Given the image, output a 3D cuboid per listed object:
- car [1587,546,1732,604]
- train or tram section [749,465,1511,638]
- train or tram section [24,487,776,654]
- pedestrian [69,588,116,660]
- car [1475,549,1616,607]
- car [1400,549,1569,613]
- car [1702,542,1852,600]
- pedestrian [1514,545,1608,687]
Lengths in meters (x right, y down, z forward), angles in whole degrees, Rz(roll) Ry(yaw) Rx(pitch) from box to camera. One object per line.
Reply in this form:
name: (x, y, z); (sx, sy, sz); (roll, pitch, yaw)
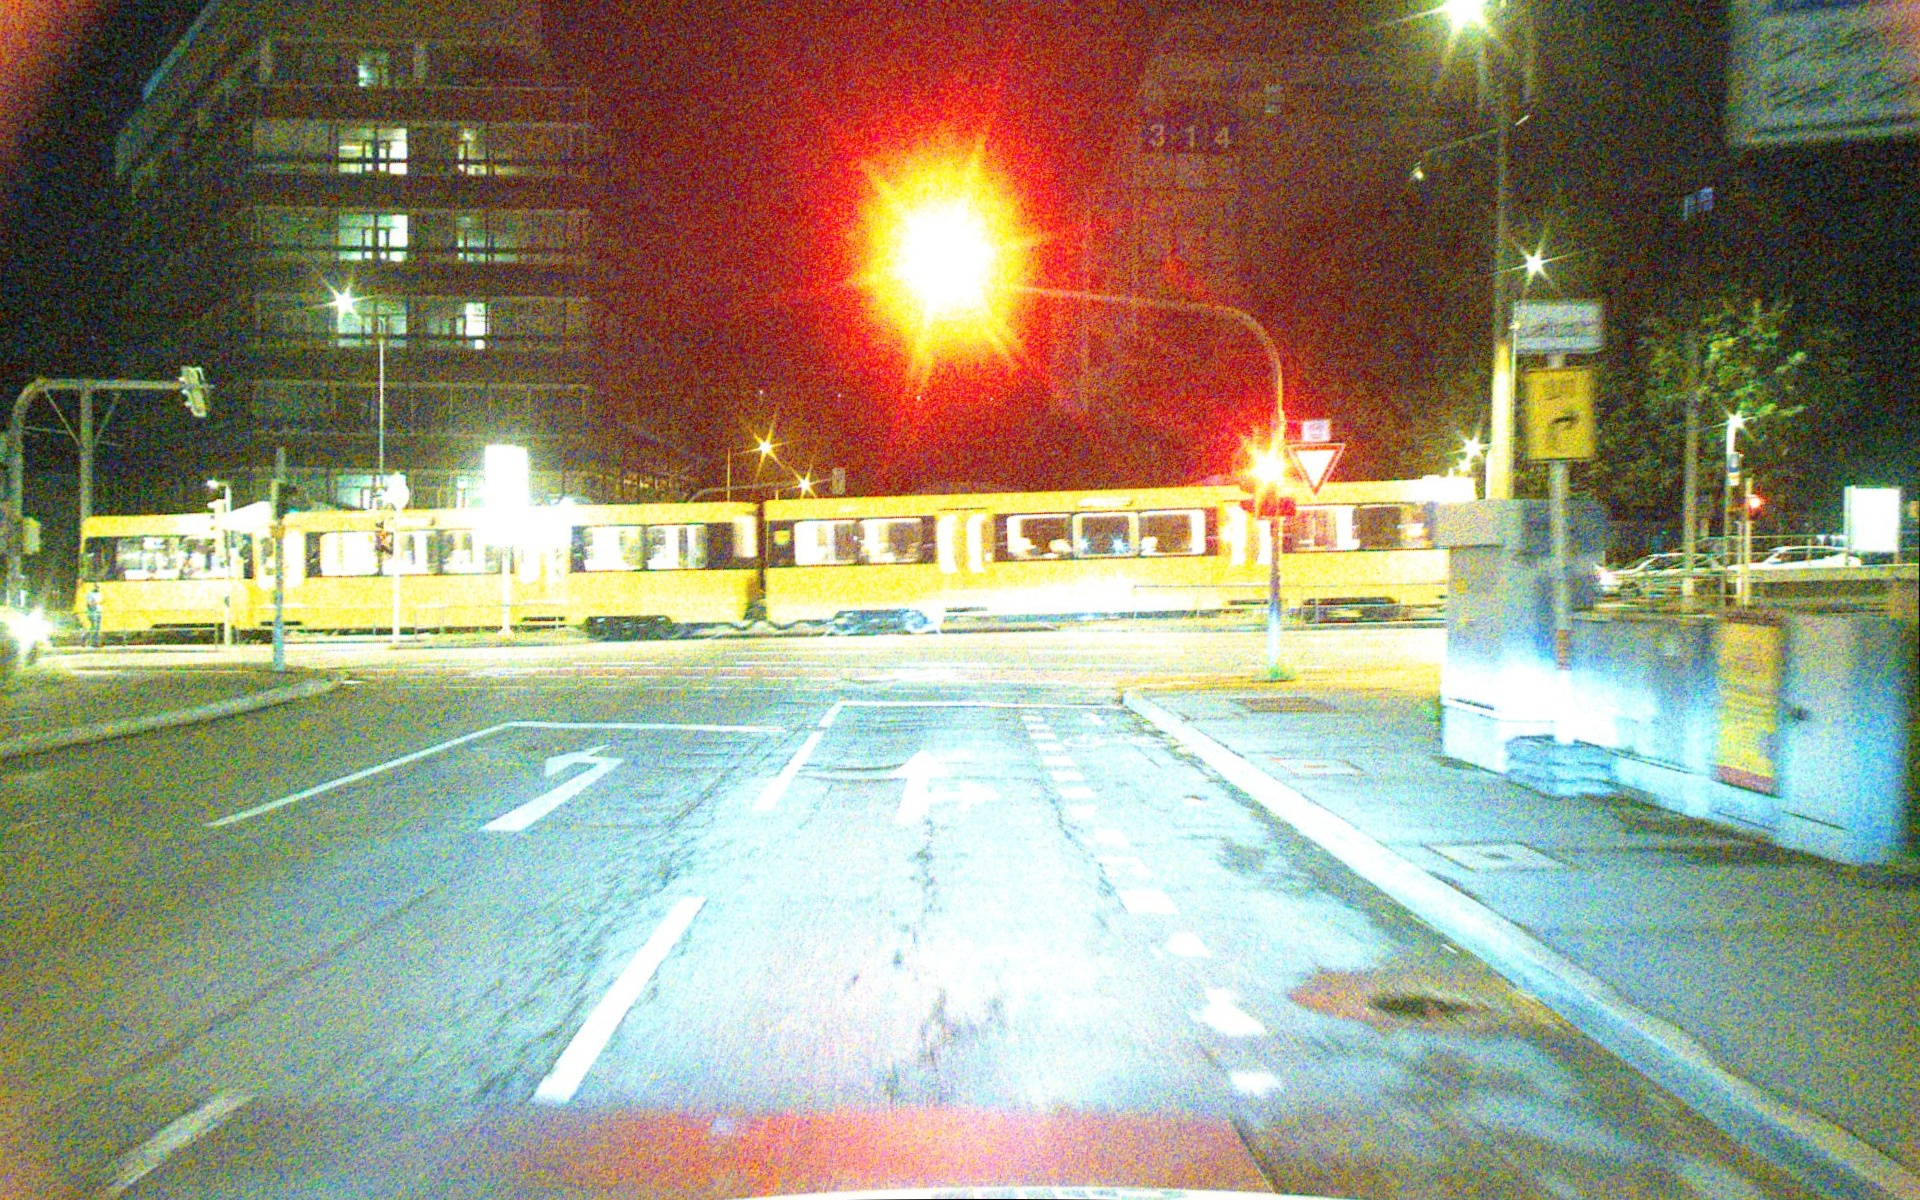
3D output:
car: (21.344, -0.754, 50.598); (3.685, 1.553, 1.760); (-3, 0, 8)
train or tram section: (4.172, -1.183, 42.575); (18.769, 3.890, 2.925); (-1, 0, 5)
train or tram section: (-14.792, -0.745, 44.166); (19.375, 3.929, 2.942); (-1, 0, 5)
pedestrian: (-21.810, 0.601, 41.580); (0.749, 1.767, 0.659); (-2, 1, 0)
car: (19.033, -0.721, 53.873); (3.972, 1.643, 1.870); (-3, 0, 8)
car: (15.859, -0.573, 50.206); (4.516, 1.668, 2.001); (-3, 0, 5)
car: (26.484, -0.933, 53.729); (3.902, 1.601, 1.887); (-4, 0, 10)
pedestrian: (7.634, 0.206, 21.040); (0.881, 1.742, 0.775); (-2, -1, 5)
